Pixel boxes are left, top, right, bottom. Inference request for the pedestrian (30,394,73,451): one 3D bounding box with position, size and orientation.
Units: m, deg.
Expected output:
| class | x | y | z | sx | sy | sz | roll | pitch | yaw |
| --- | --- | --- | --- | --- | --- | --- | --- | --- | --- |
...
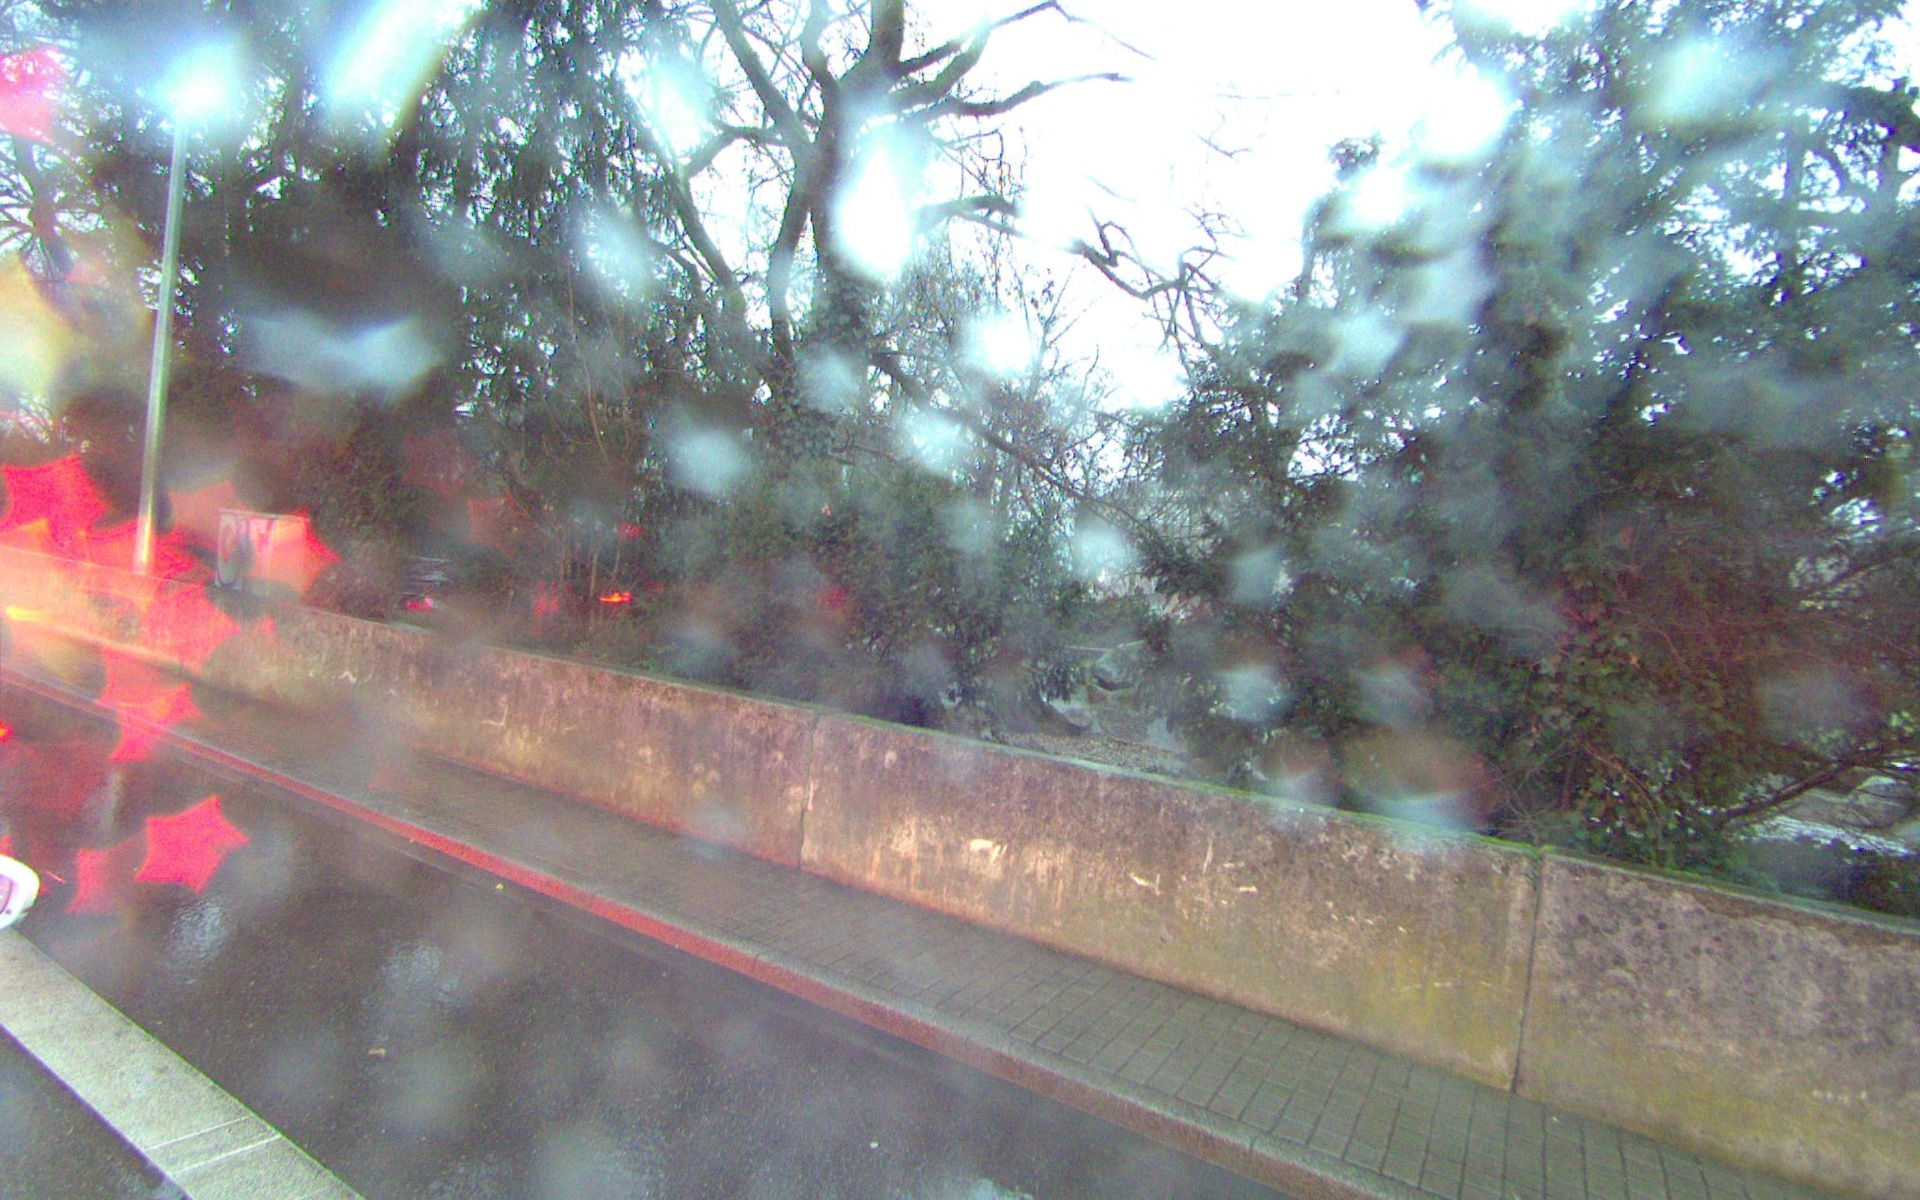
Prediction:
| class | x | y | z | sx | sy | sz | roll | pitch | yaw |
| --- | --- | --- | --- | --- | --- | --- | --- | --- | --- |
| pedestrian | -36.117 | -7.056 | 39.991 | 0.992 | 2.039 | 0.959 | 7 | 1 | 35 |
